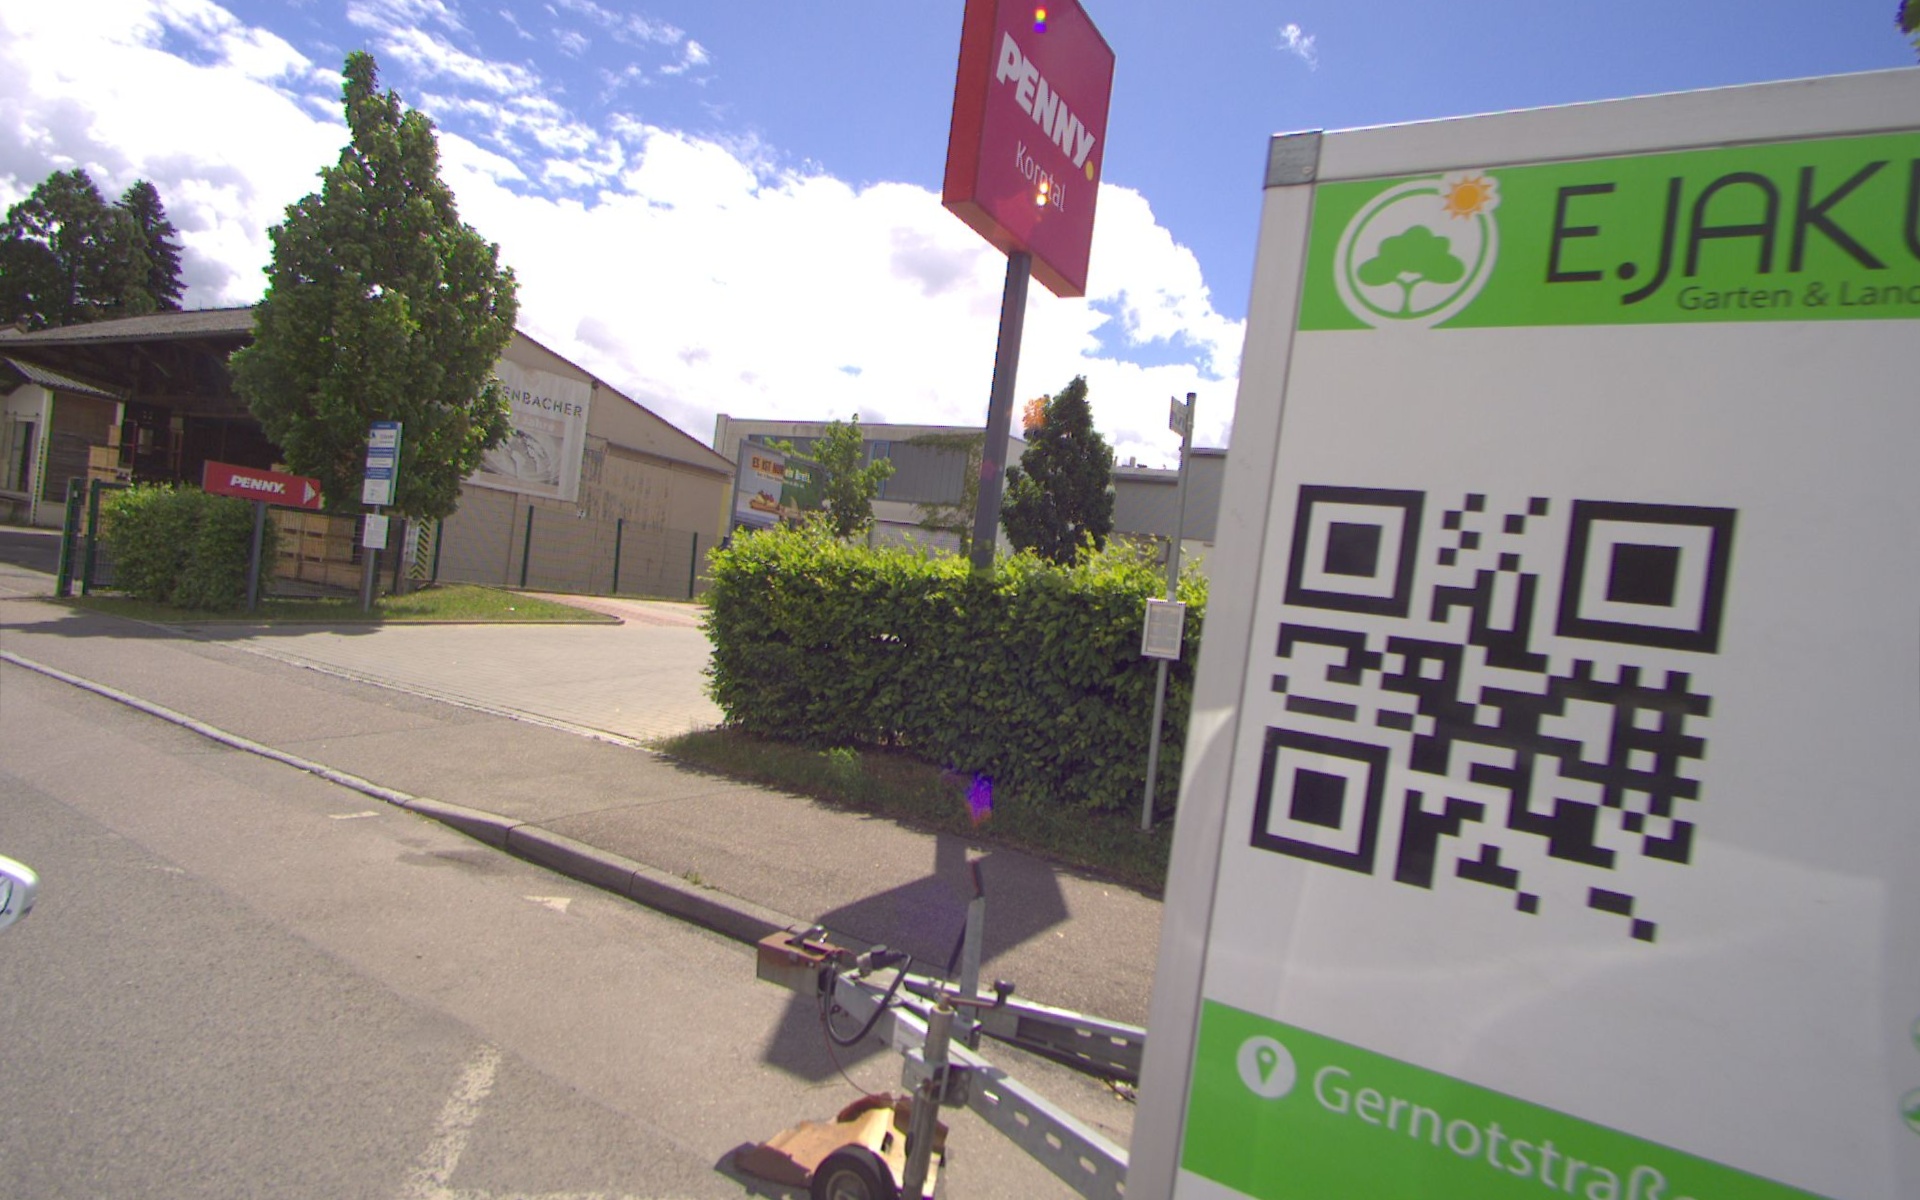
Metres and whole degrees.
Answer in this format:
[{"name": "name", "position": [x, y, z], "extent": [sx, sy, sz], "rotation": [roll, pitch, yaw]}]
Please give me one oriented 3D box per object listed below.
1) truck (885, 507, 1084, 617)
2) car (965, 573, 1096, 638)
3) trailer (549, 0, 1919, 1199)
[{"name": "truck", "position": [1.540, -1.439, 44.863], "extent": [2.930, 2.896, 12.008], "rotation": [8, -3, 32]}, {"name": "car", "position": [2.632, 0.204, 37.680], "extent": [4.317, 1.854, 1.996], "rotation": [8, 2, 29]}, {"name": "trailer", "position": [1.544, 0.520, 2.009], "extent": [4.370, 2.323, 1.944], "rotation": [7, 1, 30]}]
